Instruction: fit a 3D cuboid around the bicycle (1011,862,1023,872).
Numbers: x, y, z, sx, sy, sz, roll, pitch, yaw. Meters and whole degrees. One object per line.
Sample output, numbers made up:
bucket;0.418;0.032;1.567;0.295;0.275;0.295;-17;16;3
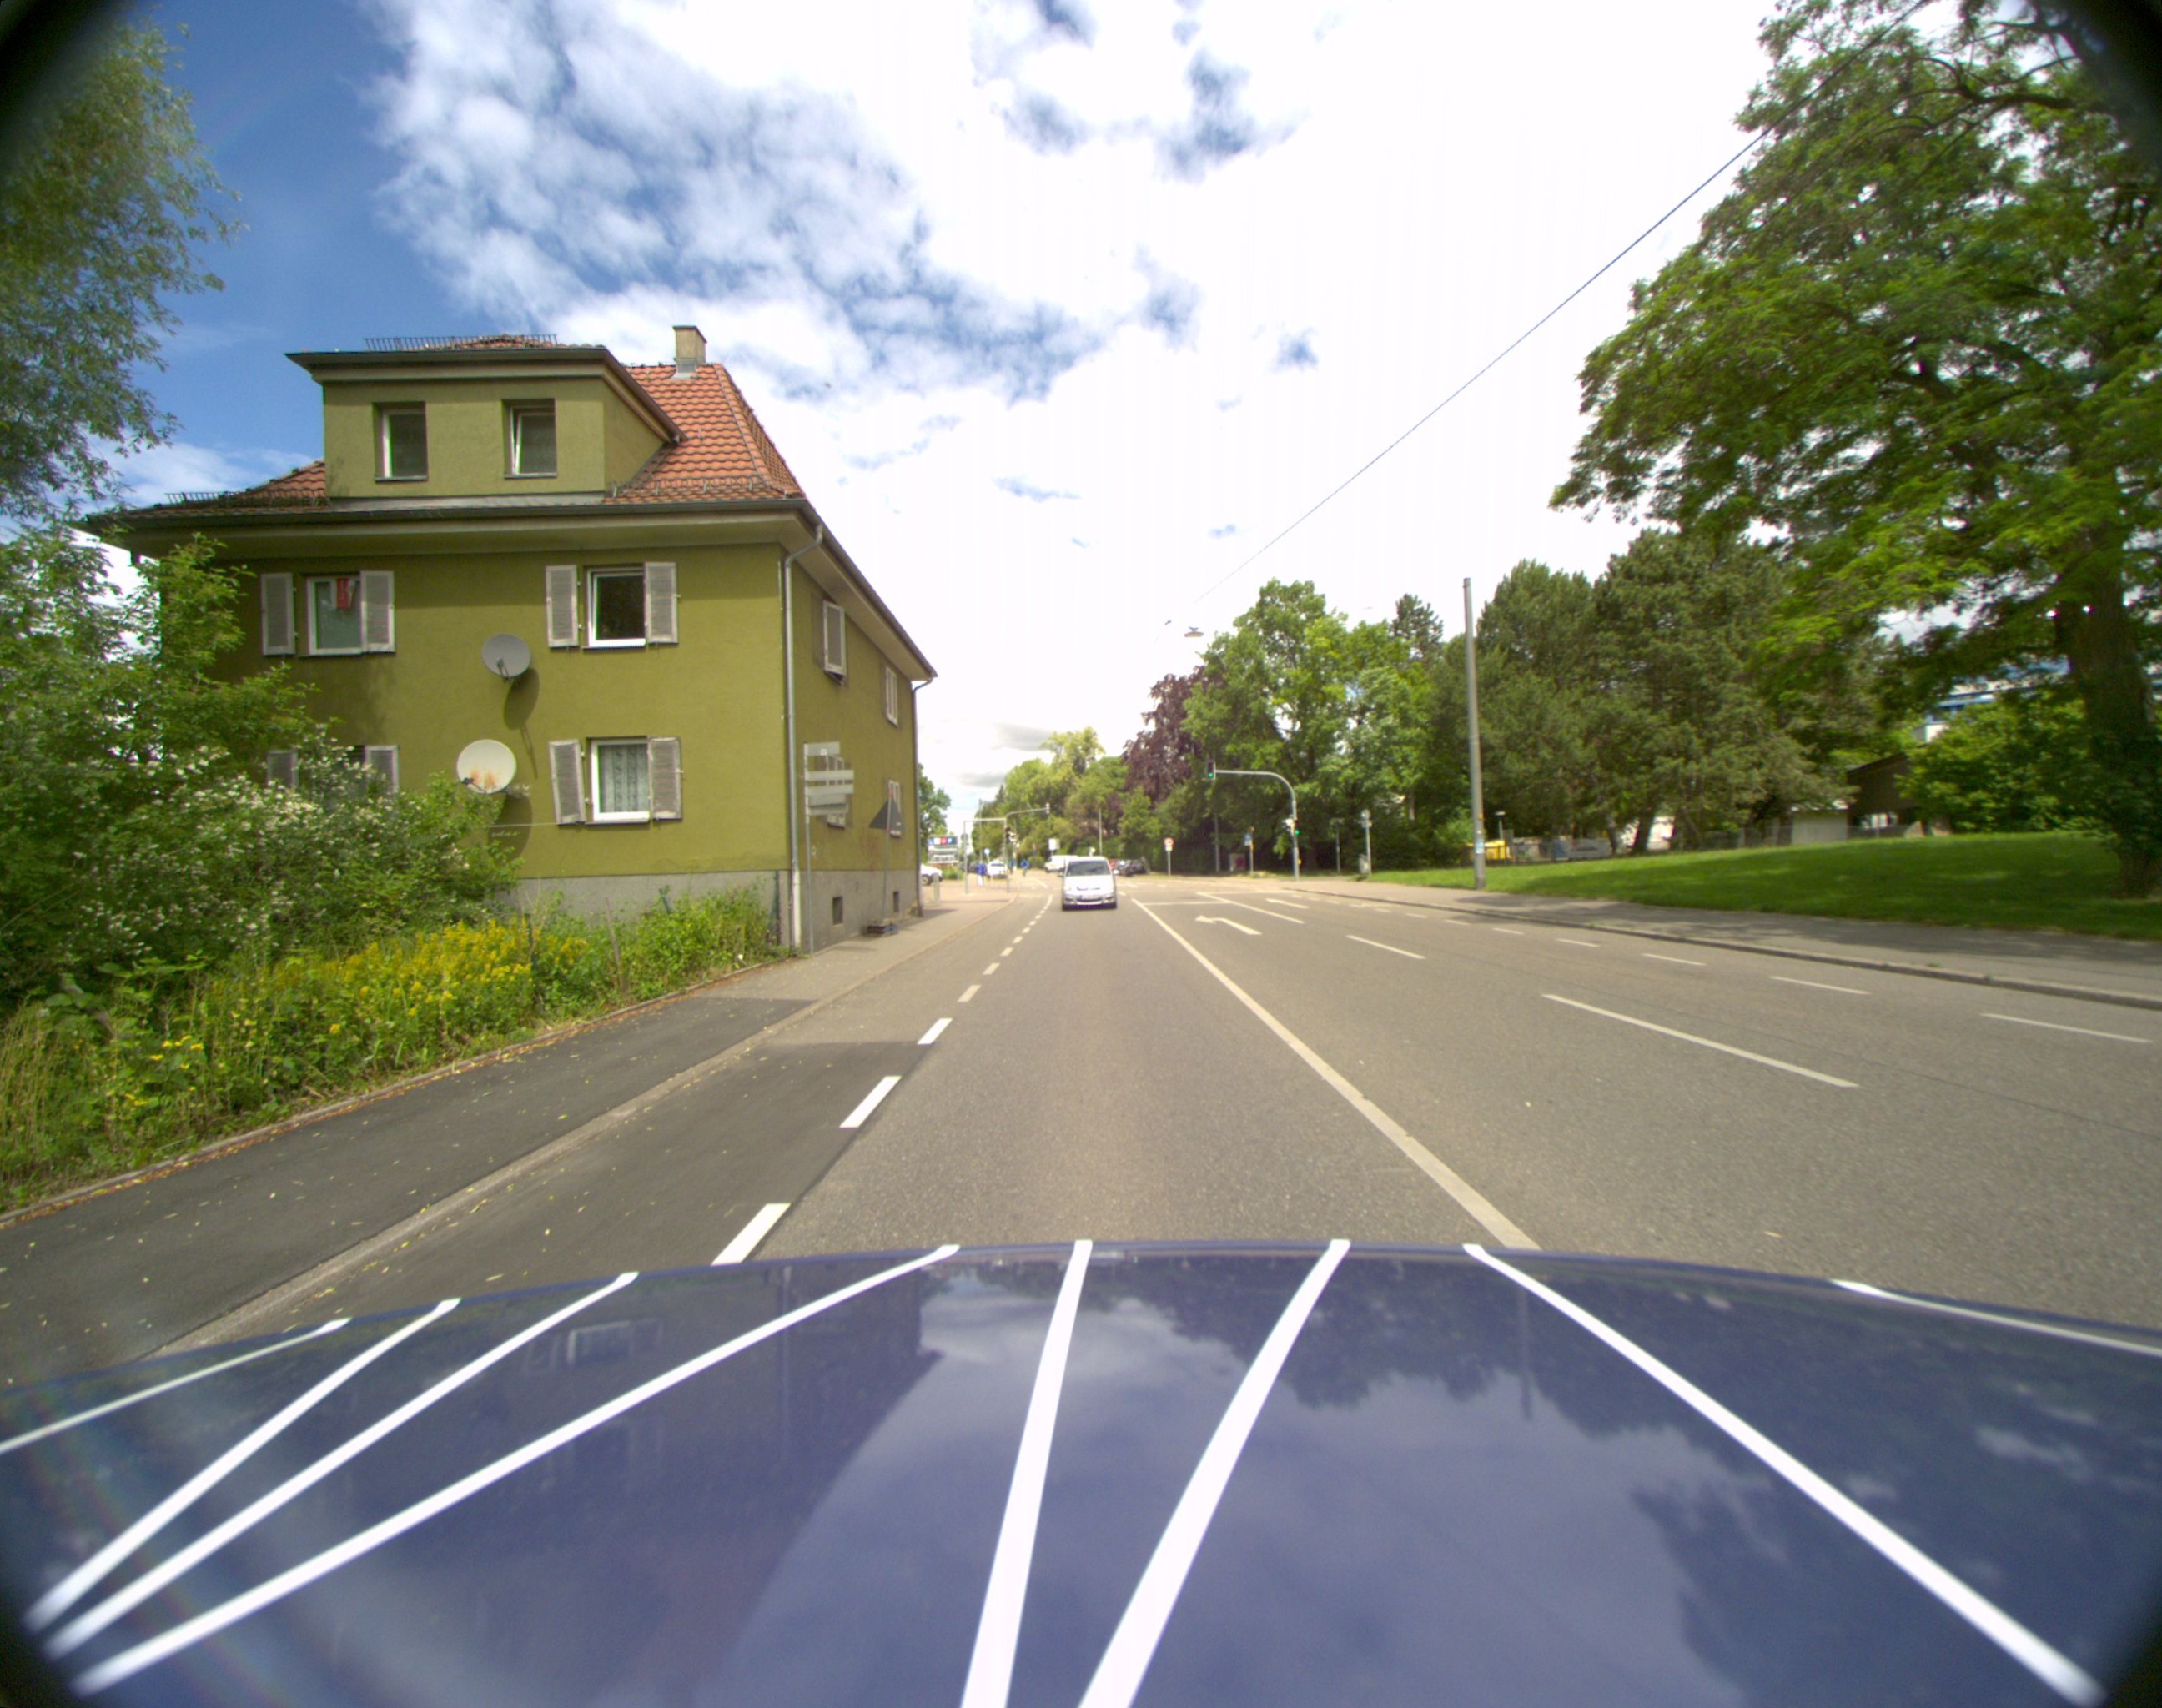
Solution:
bicycle;-7.607;1.502;90.154;0.815;1.101;1.797;-4;0;-22

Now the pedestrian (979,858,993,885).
pedestrian;-5.692;1.039;45.579;0.729;1.543;1.056;-2;0;-10

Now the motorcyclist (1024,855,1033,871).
motorcyclist;-5.270;0.907;76.576;0.837;1.547;0.650;0;1;-1

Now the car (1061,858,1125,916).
car;0.354;0.934;23.268;1.780;1.519;4.000;-1;1;0

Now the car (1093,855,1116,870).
car;2.473;0.922;82.190;1.900;1.501;3.997;0;1;-7

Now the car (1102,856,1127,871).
car;3.351;0.944;77.206;1.900;1.501;3.997;0;1;-7

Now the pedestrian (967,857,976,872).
pedestrian;-11.927;1.137;82.785;0.723;1.651;0.777;-4;1;-4

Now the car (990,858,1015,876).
car;-7.100;1.159;69.030;1.799;1.501;3.999;0;0;-1

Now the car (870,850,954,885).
car;-10.014;0.786;45.233;4.364;1.983;2.001;-1;1;9

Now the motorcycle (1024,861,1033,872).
motorcycle;-5.266;1.242;76.524;0.837;1.101;1.800;0;0;-1

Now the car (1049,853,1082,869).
car;-1.744;0.745;85.327;1.803;1.787;4.492;-1;1;-29

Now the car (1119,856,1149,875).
car;4.688;1.001;67.525;1.900;1.501;3.997;0;1;-7

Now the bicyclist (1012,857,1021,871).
bicyclist;-7.623;1.147;90.121;0.808;1.599;0.770;-4;1;-22
